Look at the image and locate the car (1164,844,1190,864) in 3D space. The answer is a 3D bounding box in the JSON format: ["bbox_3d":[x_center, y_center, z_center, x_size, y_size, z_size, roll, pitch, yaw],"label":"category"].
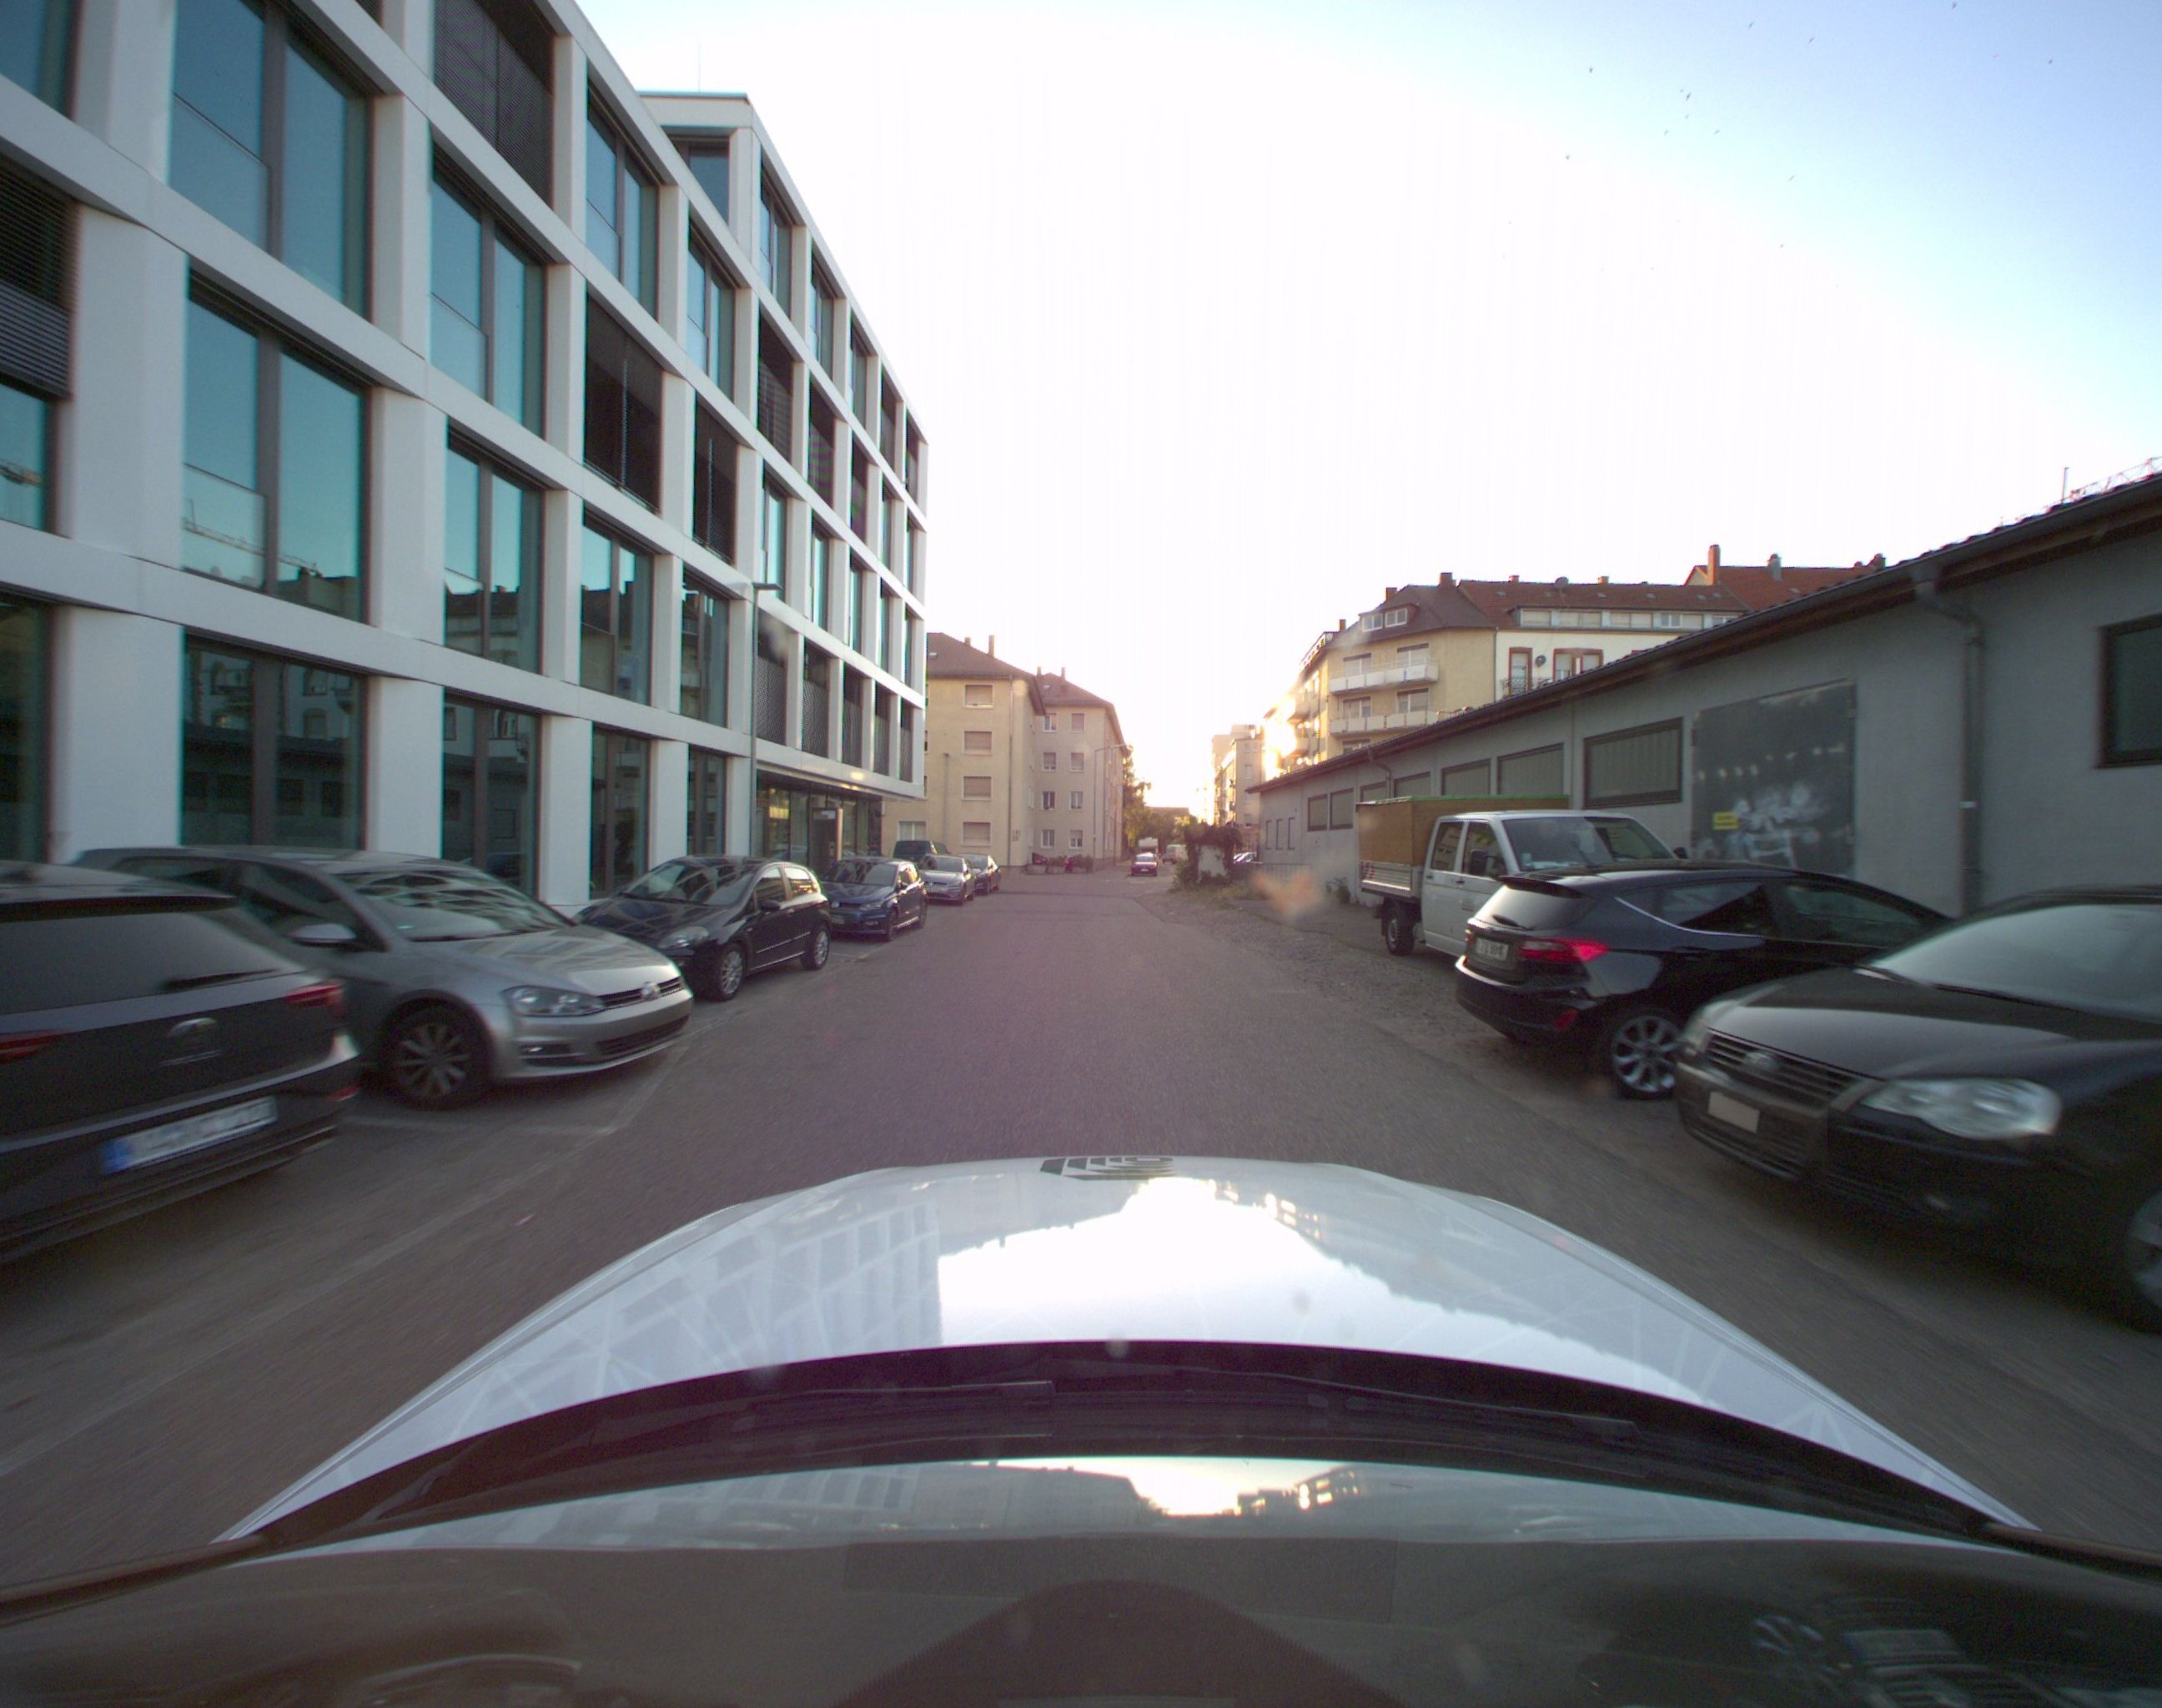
[{"bbox_3d":[13.090,0.021,111.317,2.129,2.717,4.816,-1,0,-10],"label":"car"}]

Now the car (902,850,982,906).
[{"bbox_3d":[-4.222,0.670,25.266,1.705,1.478,4.183,4,0,-1],"label":"car"}]

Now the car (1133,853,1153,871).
[{"bbox_3d":[5.332,0.679,70.047,1.609,1.473,3.508,-1,0,4],"label":"car"}]

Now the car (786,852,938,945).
[{"bbox_3d":[-4.054,0.743,15.776,1.642,1.438,4.185,4,0,1],"label":"car"}]

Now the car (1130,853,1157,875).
[{"bbox_3d":[4.379,0.696,57.264,1.837,1.473,4.082,0,0,4],"label":"car"}]

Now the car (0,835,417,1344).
[{"bbox_3d":[-5.059,0.683,3.147,3.638,1.511,1.689,2,1,4],"label":"car"}]

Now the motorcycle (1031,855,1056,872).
[{"bbox_3d":[-2.421,0.601,53.011,0.717,1.079,2.093,1,0,26],"label":"motorcycle"}]

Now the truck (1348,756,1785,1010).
[{"bbox_3d":[5.172,0.241,9.965,2.090,2.200,5.713,1,0,2],"label":"truck"}]

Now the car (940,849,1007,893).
[{"bbox_3d":[-4.053,0.592,31.385,1.773,1.478,4.333,4,0,2],"label":"car"}]

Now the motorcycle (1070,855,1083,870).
[{"bbox_3d":[-0.302,0.600,57.727,0.678,1.079,2.038,1,0,6],"label":"motorcycle"}]

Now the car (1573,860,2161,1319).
[{"bbox_3d":[4.564,0.800,3.532,3.746,1.444,1.845,2,0,0],"label":"car"}]

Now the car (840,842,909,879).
[{"bbox_3d":[-9.095,0.339,36.246,1.773,1.550,4.332,1,-2,2],"label":"car"}]

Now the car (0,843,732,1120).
[{"bbox_3d":[-4.800,0.733,5.729,3.908,1.511,1.690,2,1,4],"label":"car"}]

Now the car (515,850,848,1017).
[{"bbox_3d":[-4.351,0.735,9.738,1.641,1.438,4.205,4,0,3],"label":"car"}]

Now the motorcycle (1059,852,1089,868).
[{"bbox_3d":[-0.516,0.444,59.949,2.107,1.105,0.563,1,0,16],"label":"motorcycle"}]

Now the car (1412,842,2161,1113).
[{"bbox_3d":[4.654,0.727,5.919,3.744,1.535,1.893,1,1,3],"label":"car"}]

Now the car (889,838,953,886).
[{"bbox_3d":[-7.018,0.307,36.168,1.791,1.979,4.691,1,1,1],"label":"car"}]

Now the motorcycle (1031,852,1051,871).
[{"bbox_3d":[-2.674,0.493,55.313,0.718,1.264,2.089,1,0,16],"label":"motorcycle"}]

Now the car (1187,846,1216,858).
[{"bbox_3d":[16.681,-0.251,112.961,3.968,1.530,1.661,-1,0,4],"label":"car"}]

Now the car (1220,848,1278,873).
[{"bbox_3d":[13.032,0.517,63.225,4.259,1.860,1.744,1,0,5],"label":"car"}]

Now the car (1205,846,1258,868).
[{"bbox_3d":[14.291,0.299,77.613,4.700,1.909,2.061,-1,0,4],"label":"car"}]

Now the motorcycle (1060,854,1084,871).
[{"bbox_3d":[-0.620,0.579,55.420,0.682,1.160,2.046,1,0,29],"label":"motorcycle"}]

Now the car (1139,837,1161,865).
[{"bbox_3d":[8.756,-0.397,102.495,2.607,3.269,7.709,-1,0,6],"label":"car"}]
